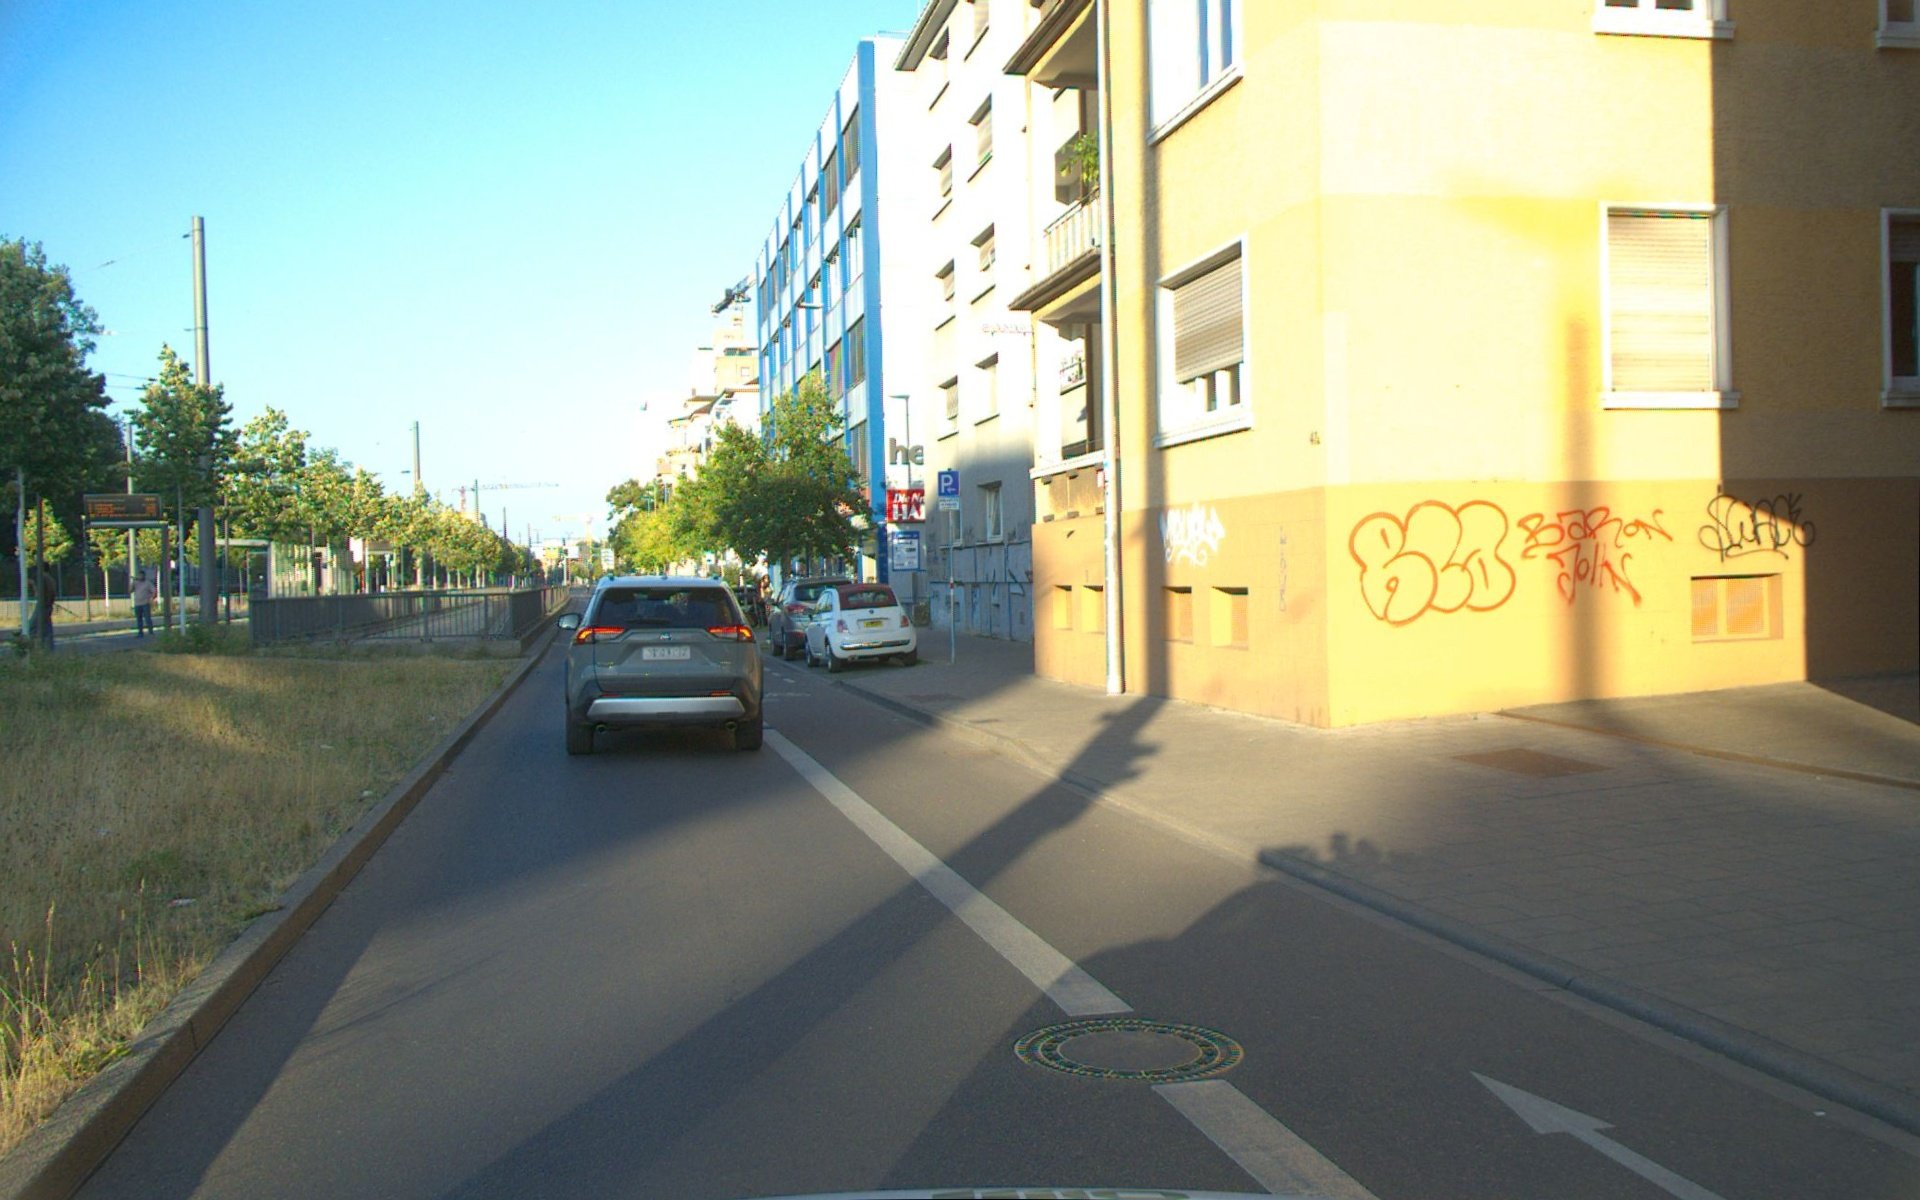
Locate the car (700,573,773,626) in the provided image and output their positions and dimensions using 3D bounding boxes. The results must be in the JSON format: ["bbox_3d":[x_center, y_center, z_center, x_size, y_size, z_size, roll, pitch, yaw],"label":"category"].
[{"bbox_3d":[-7.761,-0.028,57.141,1.790,1.593,4.791,-5,2,-15],"label":"car"}]

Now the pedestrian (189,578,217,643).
[{"bbox_3d":[-20.868,0.278,45.591,0.626,1.759,0.631,-2,1,-26],"label":"pedestrian"}]

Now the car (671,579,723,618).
[{"bbox_3d":[-10.763,-0.073,67.566,1.656,1.480,4.113,-3,1,-15],"label":"car"}]

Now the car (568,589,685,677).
[{"bbox_3d":[-6.160,0.561,30.240,1.827,1.488,4.175,0,0,-15],"label":"car"}]

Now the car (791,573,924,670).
[{"bbox_3d":[-1.961,0.364,30.579,1.643,1.543,3.586,-5,2,-16],"label":"car"}]

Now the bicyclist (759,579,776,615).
[{"bbox_3d":[-8.254,-0.122,70.853,0.549,1.501,0.620,-5,1,-15],"label":"bicyclist"}]

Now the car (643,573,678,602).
[{"bbox_3d":[-19.166,-0.823,105.749,1.824,1.736,4.237,-4,1,-15],"label":"car"}]

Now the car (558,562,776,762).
[{"bbox_3d":[-3.068,0.538,16.651,1.827,1.744,4.176,0,0,-15],"label":"car"}]

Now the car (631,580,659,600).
[{"bbox_3d":[-25.566,-0.819,134.229,1.764,1.496,4.426,-5,2,-16],"label":"car"}]

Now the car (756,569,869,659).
[{"bbox_3d":[-3.232,0.263,35.522,1.727,1.682,4.514,-4,1,-13],"label":"car"}]

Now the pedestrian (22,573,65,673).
[{"bbox_3d":[-16.929,0.413,30.555,0.462,1.818,0.625,-1,0,-6],"label":"pedestrian"}]

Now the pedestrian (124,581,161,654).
[{"bbox_3d":[-20.419,0.430,41.319,0.714,1.775,0.632,-2,1,-21],"label":"pedestrian"}]
